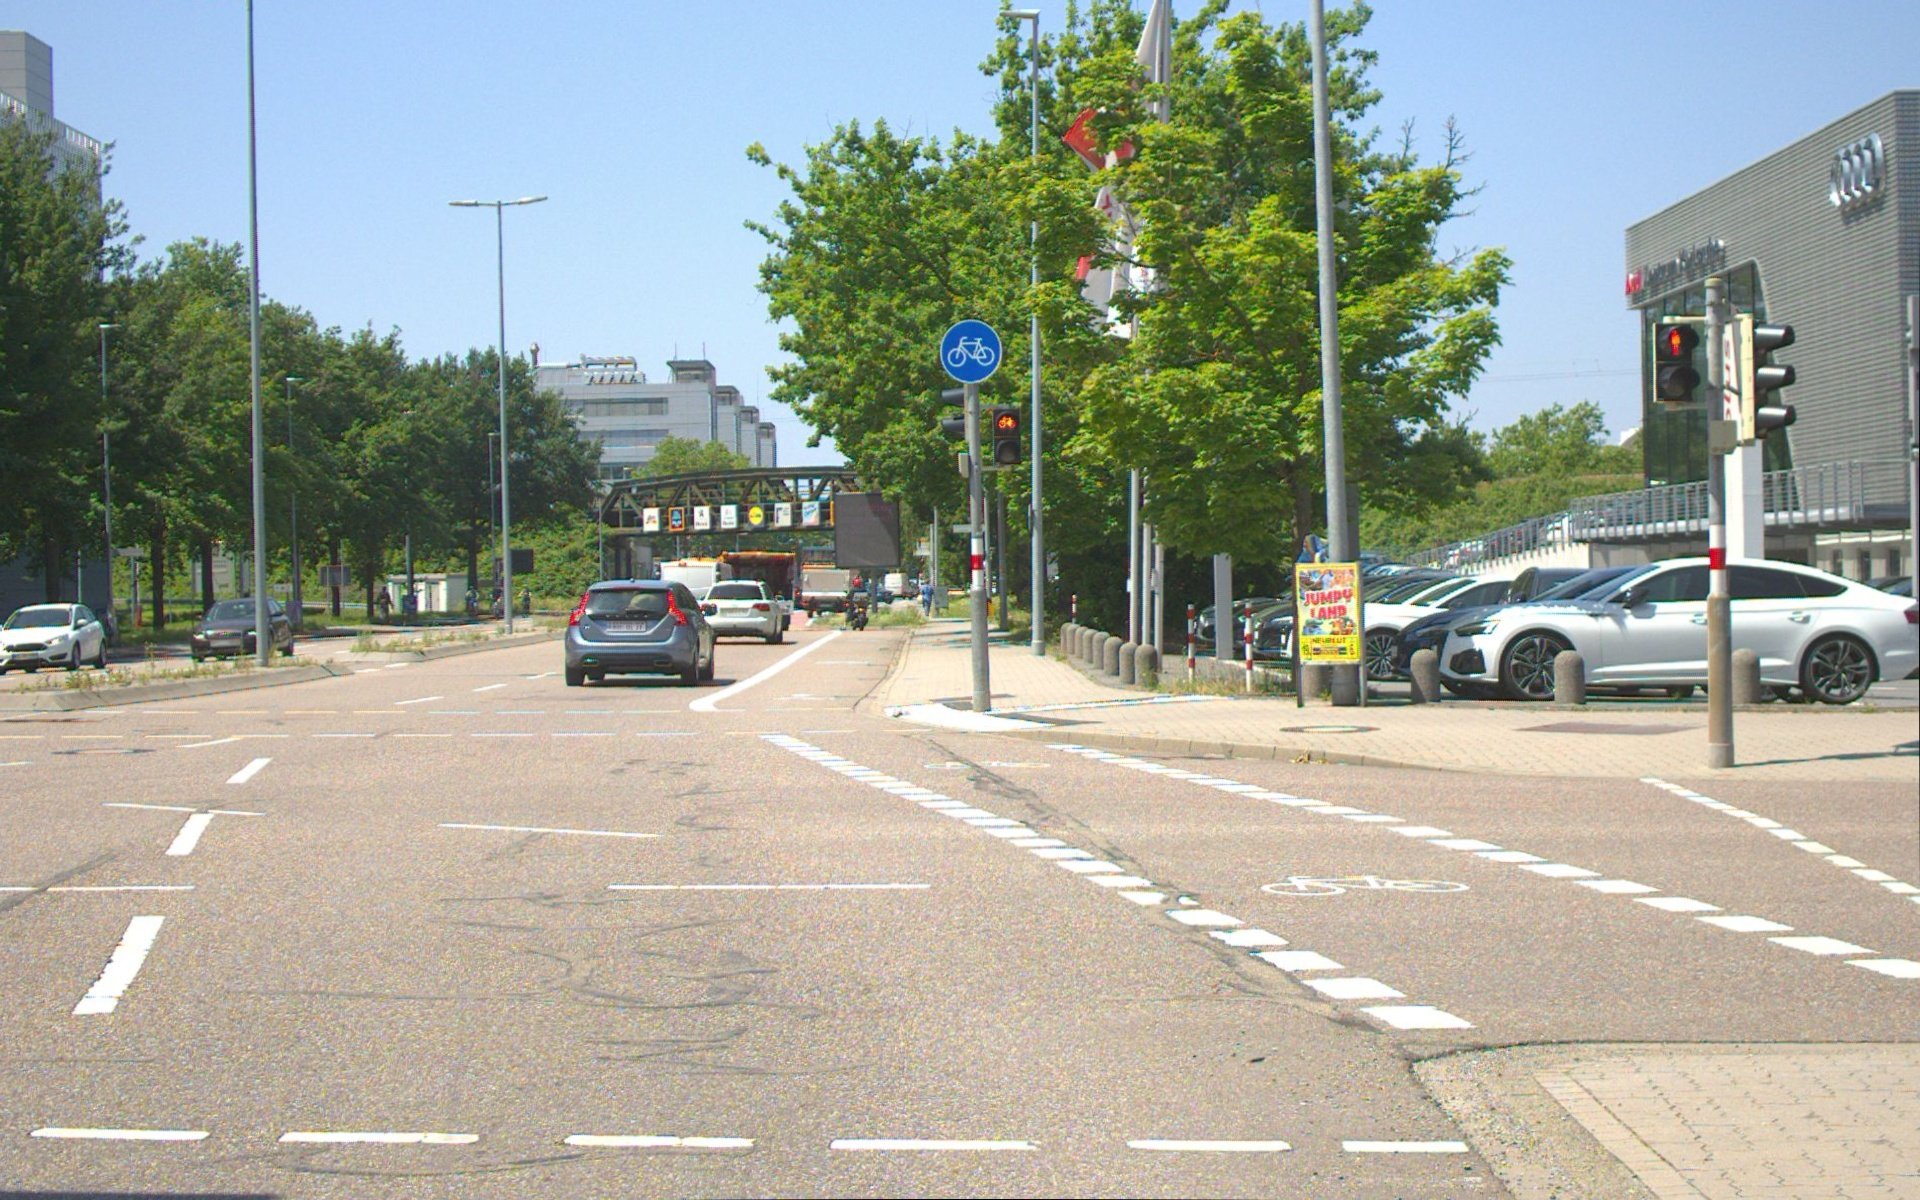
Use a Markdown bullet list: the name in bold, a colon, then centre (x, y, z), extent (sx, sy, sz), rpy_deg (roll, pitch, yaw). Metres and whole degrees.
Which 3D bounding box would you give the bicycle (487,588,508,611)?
- **bicycle**: centre (-23.122, -0.044, 171.936), extent (0.739, 1.121, 2.434), rpy_deg (-1, 0, 0)

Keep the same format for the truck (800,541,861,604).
- **truck**: centre (-5.942, -1.278, 158.187), extent (2.615, 2.841, 5.615), rpy_deg (1, 1, -1)

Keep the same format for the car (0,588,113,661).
- **car**: centre (-19.591, 0.516, 74.030), extent (1.743, 1.481, 4.000), rpy_deg (-2, 0, -1)

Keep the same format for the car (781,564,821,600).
- **car**: centre (-9.488, -1.084, 205.340), extent (1.994, 2.007, 4.000), rpy_deg (-2, 0, 2)

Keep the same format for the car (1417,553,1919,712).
- **car**: centre (6.845, 0.302, 33.265), extent (4.592, 1.385, 1.869), rpy_deg (1, 0, 2)

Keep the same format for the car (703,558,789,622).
- **car**: centre (-4.785, -0.232, 77.214), extent (1.744, 1.391, 3.529), rpy_deg (0, 1, -1)

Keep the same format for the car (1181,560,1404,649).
- **car**: centre (5.801, 0.078, 60.270), extent (3.681, 1.448, 1.834), rpy_deg (1, 0, 0)

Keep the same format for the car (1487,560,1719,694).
- **car**: centre (7.345, 0.277, 39.695), extent (1.863, 1.415, 4.662), rpy_deg (1, 0, 1)

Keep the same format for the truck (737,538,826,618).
- **truck**: centre (-5.544, -0.696, 107.580), extent (2.458, 2.402, 7.134), rpy_deg (1, 1, -1)

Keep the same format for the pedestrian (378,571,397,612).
- **pedestrian**: centre (-26.094, -0.395, 156.660), extent (0.743, 1.878, 0.577), rpy_deg (-1, 0, 0)

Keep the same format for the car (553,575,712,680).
- **car**: centre (-4.548, 0.357, 48.275), extent (1.900, 1.371, 4.232), rpy_deg (-1, 0, -1)

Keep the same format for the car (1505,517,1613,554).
- **car**: centre (21.744, -2.339, 124.865), extent (3.523, 1.235, 1.677), rpy_deg (1, 0, -5)

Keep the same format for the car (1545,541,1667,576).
- **car**: centre (21.855, -1.413, 116.345), extent (3.724, 1.127, 1.684), rpy_deg (1, 0, -5)

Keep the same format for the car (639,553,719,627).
- **car**: centre (-7.746, -0.286, 95.102), extent (1.993, 2.007, 4.000), rpy_deg (0, 0, -1)

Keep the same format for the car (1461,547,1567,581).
- **car**: centre (22.875, -1.478, 141.917), extent (3.986, 1.307, 1.798), rpy_deg (-1, 0, -5)

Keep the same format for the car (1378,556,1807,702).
- **car**: centre (6.544, 0.286, 35.877), extent (4.096, 1.385, 1.869), rpy_deg (1, 0, 0)

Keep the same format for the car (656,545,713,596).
- **car**: centre (-11.268, -1.205, 140.747), extent (1.993, 2.007, 4.813), rpy_deg (1, 1, -1)

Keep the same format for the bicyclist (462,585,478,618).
- **bicyclist**: centre (-23.772, 0.066, 166.831), extent (0.637, 1.577, 0.884), rpy_deg (-1, 0, -2)

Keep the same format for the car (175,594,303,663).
- **car**: centre (-16.548, 0.638, 79.107), extent (1.726, 1.441, 4.719), rpy_deg (-3, 0, 2)

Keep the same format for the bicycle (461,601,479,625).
- **bicycle**: centre (-23.756, 0.637, 166.776), extent (0.637, 1.130, 1.971), rpy_deg (-1, 0, -2)

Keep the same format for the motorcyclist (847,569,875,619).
- **motorcyclist**: centre (-3.057, -0.176, 105.979), extent (0.719, 1.524, 0.871), rpy_deg (1, 0, -10)

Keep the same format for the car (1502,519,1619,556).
- **car**: centre (22.543, -2.353, 129.182), extent (3.986, 1.307, 1.798), rpy_deg (1, 0, -5)

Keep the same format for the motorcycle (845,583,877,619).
- **motorcycle**: centre (-3.057, 0.034, 105.941), extent (0.716, 1.101, 1.831), rpy_deg (1, 0, -10)

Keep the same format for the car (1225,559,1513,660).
- **car**: centre (6.162, 0.136, 52.127), extent (4.101, 1.400, 1.869), rpy_deg (1, 0, 0)

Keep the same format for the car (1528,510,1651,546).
- **car**: centre (22.042, -2.520, 120.465), extent (3.938, 1.207, 1.718), rpy_deg (0, 0, -5)

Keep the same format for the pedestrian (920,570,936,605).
- **pedestrian**: centre (-1.265, -0.489, 135.356), extent (0.623, 1.370, 0.564), rpy_deg (-1, 0, -2)

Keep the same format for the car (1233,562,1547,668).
- **car**: centre (6.105, 0.209, 49.161), extent (4.226, 1.385, 1.869), rpy_deg (1, 0, 0)

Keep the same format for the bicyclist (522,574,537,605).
- **bicyclist**: centre (-23.262, -0.573, 185.802), extent (0.633, 1.623, 1.045), rpy_deg (-3, 0, -1)

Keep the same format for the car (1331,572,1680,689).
- **car**: centre (6.889, 0.377, 43.680), extent (4.096, 1.360, 1.874), rpy_deg (1, 0, 0)

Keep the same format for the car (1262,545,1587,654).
- **car**: centre (6.232, -0.015, 46.484), extent (4.099, 1.344, 1.869), rpy_deg (1, 0, 0)

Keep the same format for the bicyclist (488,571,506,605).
- **bicyclist**: centre (-23.128, -0.597, 171.850), extent (0.745, 1.680, 0.952), rpy_deg (-1, 0, 0)
